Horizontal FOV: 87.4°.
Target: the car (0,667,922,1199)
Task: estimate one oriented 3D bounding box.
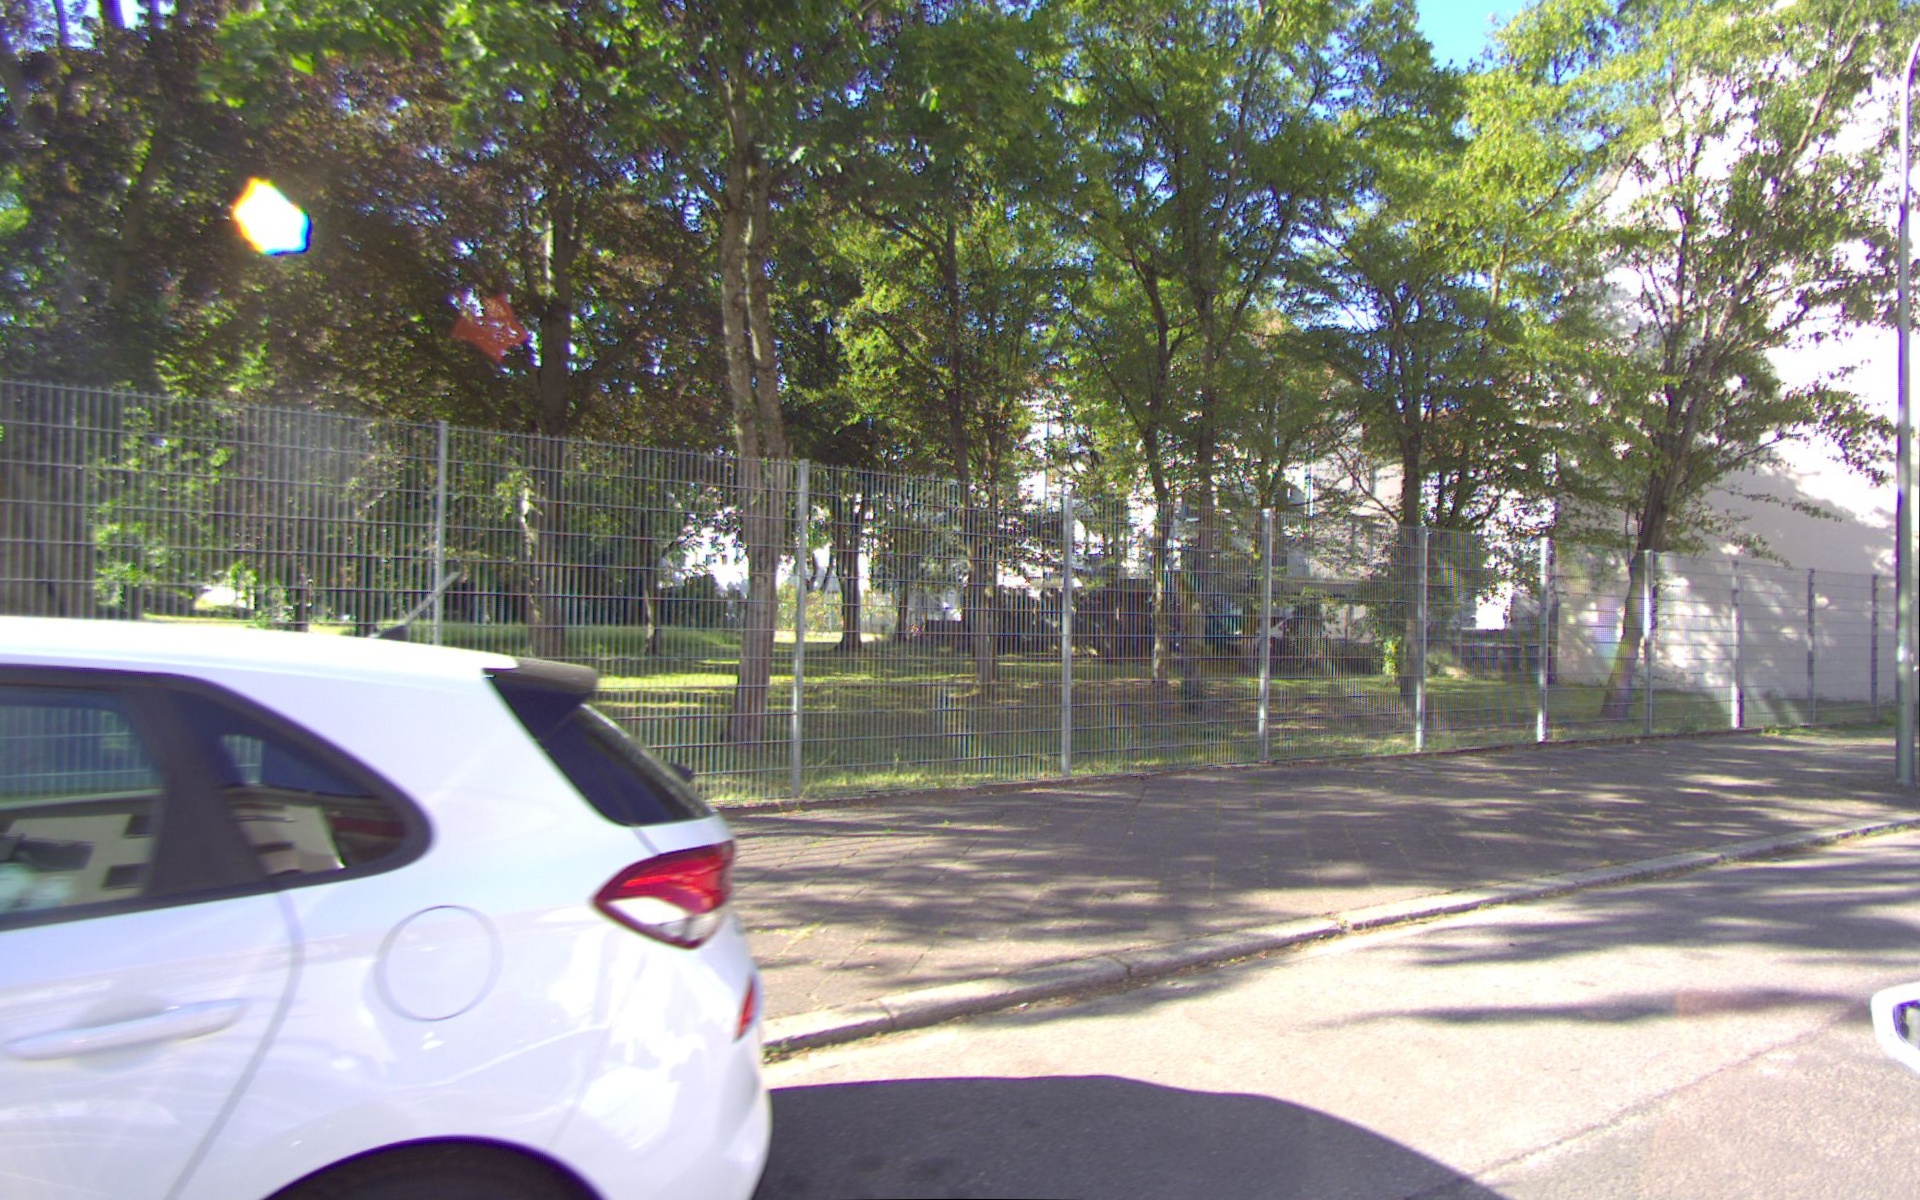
[{"bbox_3d":[-2.265,0.864,1.620,4.072,1.463,1.786,2,-3,-30],"label":"car"}]
